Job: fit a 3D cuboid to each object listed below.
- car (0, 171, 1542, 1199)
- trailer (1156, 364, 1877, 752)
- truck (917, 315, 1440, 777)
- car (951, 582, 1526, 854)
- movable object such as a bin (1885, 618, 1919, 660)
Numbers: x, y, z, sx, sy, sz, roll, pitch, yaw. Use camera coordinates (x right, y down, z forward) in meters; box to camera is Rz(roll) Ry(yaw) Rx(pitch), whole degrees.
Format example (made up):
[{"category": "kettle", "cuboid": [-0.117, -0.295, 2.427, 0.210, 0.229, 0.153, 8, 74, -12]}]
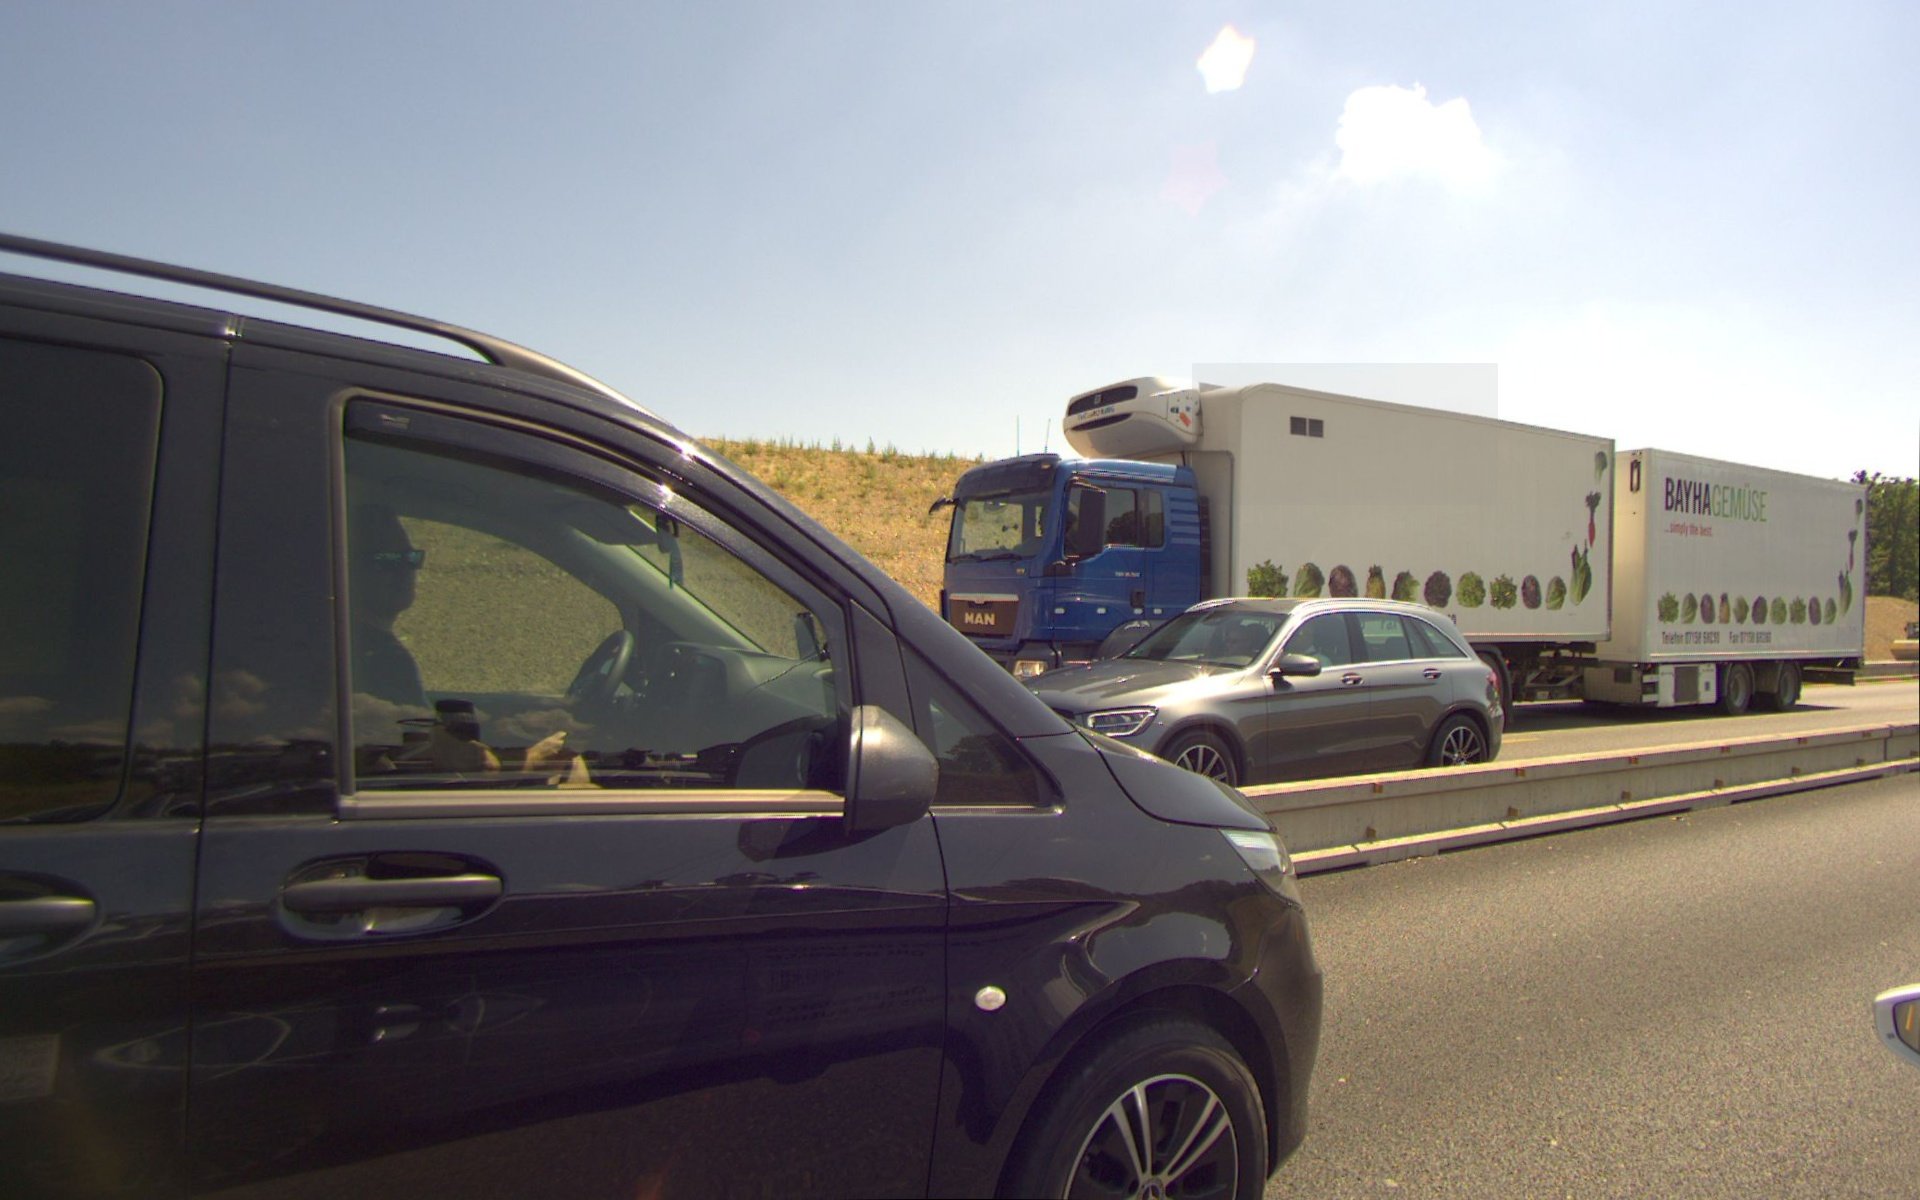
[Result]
[{"category": "car", "cuboid": [-1.395, 0.489, 1.882, 5.414, 1.876, 1.865, 1, 0, -30]}, {"category": "trailer", "cuboid": [9.802, -0.259, 15.905, 15.350, 4.234, 2.491, 2, -2, -30]}, {"category": "truck", "cuboid": [2.658, -0.410, 11.766, 5.840, 4.254, 2.481, 1, -2, -29]}, {"category": "car", "cuboid": [2.325, 0.775, 7.930, 4.541, 1.635, 1.680, 2, 0, -31]}, {"category": "movable object such as a bin", "cuboid": [74.737, 3.016, 78.029, 7.078, 3.150, 2.159, 1, -2, -30]}]
